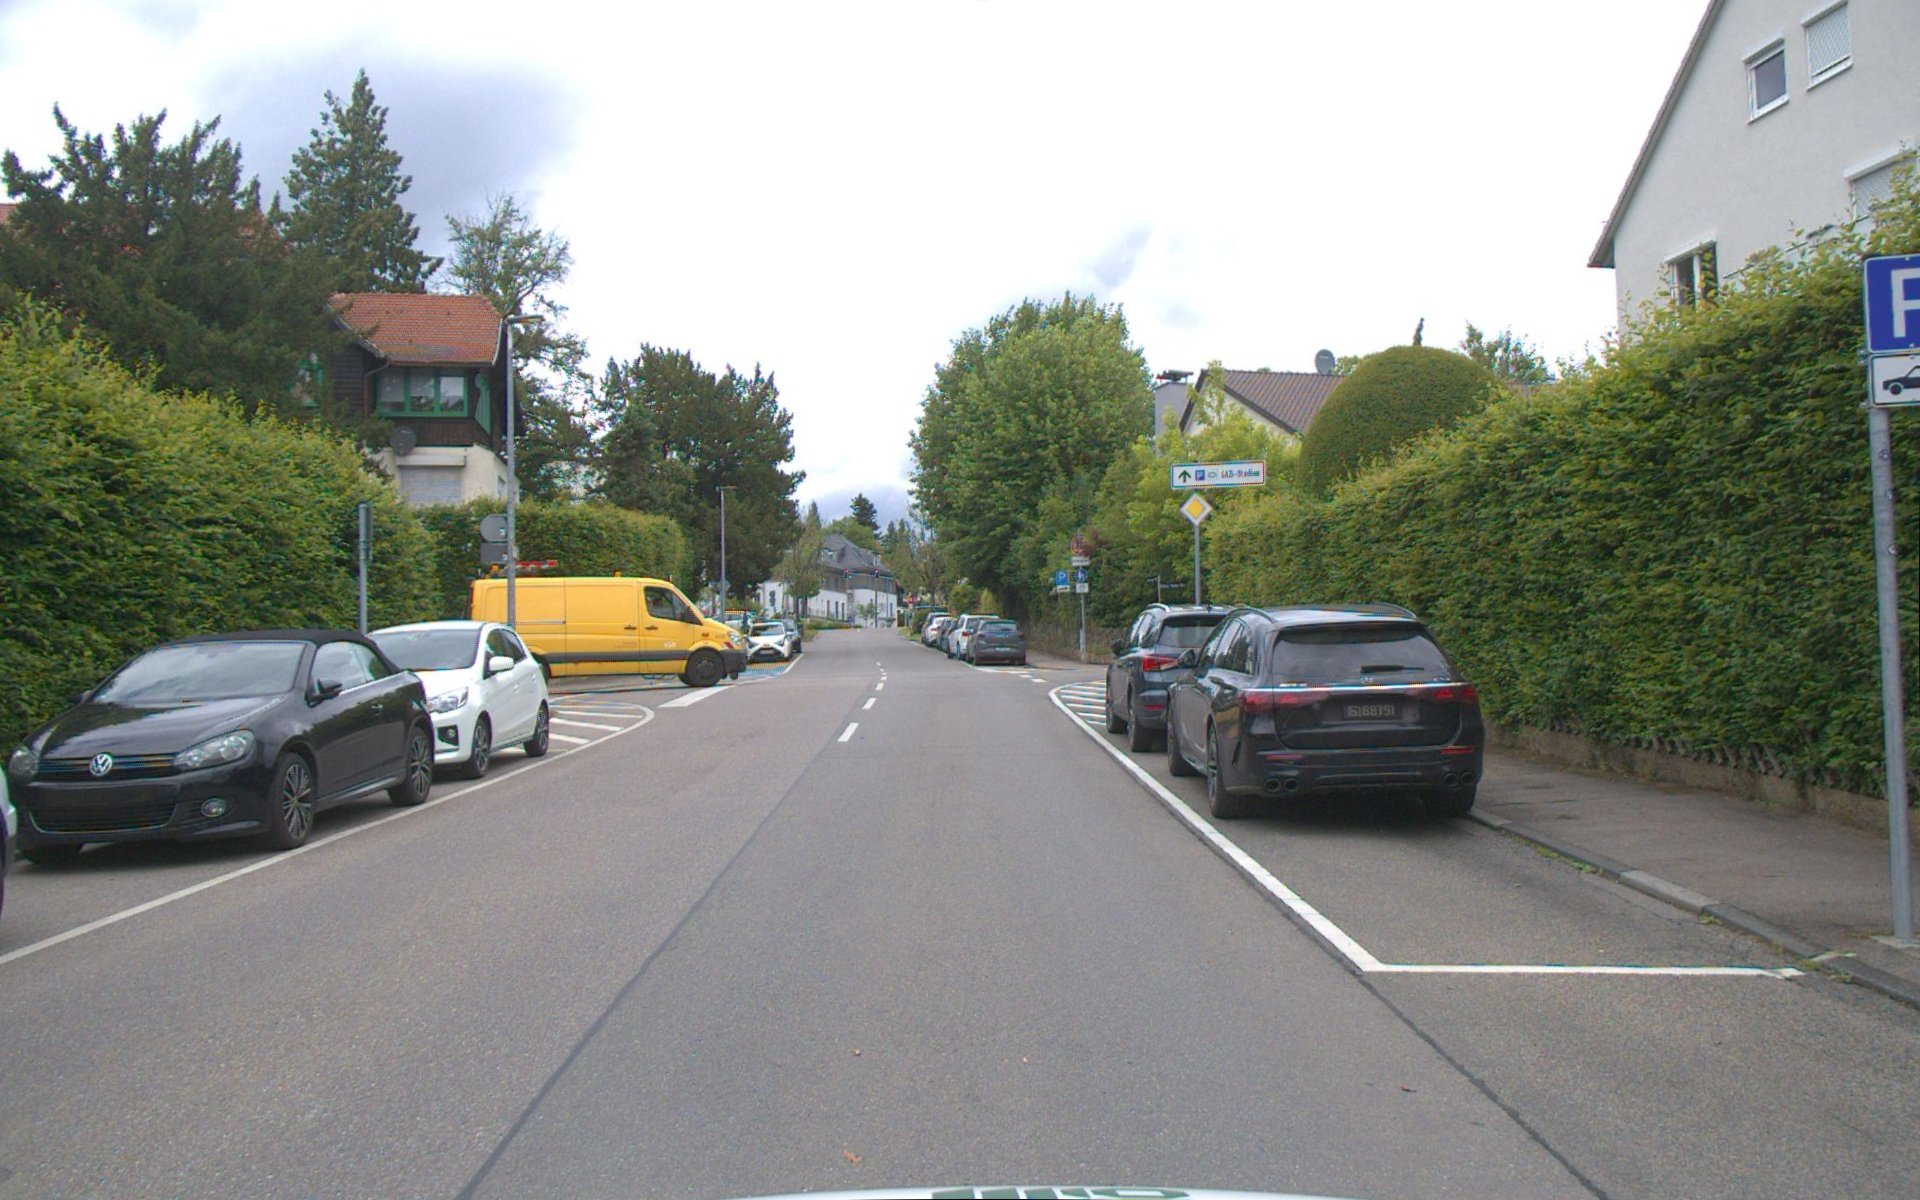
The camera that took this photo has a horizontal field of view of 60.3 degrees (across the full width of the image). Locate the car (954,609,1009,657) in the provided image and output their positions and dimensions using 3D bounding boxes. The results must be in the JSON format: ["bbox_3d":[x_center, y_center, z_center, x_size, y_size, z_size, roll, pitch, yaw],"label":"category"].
[{"bbox_3d":[0.769,1.192,60.984,1.680,1.686,3.619,-1,0,-5],"label":"car"}]

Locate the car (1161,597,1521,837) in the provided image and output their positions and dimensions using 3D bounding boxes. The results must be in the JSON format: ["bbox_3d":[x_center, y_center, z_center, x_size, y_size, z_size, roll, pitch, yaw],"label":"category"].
[{"bbox_3d":[2.768,0.759,13.071,1.844,1.560,4.475,0,0,0],"label":"car"}]

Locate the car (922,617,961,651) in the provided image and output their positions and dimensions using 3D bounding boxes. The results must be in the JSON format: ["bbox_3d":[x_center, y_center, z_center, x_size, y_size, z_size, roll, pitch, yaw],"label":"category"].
[{"bbox_3d":[-0.922,1.631,80.583,1.632,1.527,3.464,-1,0,-5],"label":"car"}]

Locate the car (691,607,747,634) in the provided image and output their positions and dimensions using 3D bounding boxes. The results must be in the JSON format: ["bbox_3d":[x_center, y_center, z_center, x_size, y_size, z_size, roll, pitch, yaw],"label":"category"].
[{"bbox_3d":[-16.445,1.373,112.939,3.773,1.767,1.639,-1,0,-9],"label":"car"}]

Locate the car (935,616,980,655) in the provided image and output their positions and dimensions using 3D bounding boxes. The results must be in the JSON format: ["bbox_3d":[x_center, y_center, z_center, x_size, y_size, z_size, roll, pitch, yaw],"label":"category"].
[{"bbox_3d":[-0.127,1.492,70.064,1.632,1.527,3.464,-1,0,-5],"label":"car"}]

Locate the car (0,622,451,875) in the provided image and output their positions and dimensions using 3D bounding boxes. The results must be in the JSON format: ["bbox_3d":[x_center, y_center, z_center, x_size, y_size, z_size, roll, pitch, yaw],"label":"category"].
[{"bbox_3d":[-5.130,0.938,11.838,1.727,1.412,3.999,-3,-1,-1],"label":"car"}]

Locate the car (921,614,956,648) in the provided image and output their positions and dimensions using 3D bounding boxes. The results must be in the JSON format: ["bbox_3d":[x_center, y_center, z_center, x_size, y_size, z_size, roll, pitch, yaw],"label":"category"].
[{"bbox_3d":[-1.161,1.607,87.730,1.632,1.697,3.464,-1,0,-5],"label":"car"}]

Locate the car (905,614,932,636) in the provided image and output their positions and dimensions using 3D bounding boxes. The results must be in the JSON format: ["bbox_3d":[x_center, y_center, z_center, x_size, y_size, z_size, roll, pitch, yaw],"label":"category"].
[{"bbox_3d":[-2.805,1.651,112.039,1.611,1.396,3.464,-1,0,-5],"label":"car"}]

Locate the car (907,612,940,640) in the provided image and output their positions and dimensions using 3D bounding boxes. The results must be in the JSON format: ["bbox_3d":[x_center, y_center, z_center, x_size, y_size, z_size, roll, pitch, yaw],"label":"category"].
[{"bbox_3d":[-2.088,1.469,94.290,1.632,1.527,3.464,-1,0,-5],"label":"car"}]

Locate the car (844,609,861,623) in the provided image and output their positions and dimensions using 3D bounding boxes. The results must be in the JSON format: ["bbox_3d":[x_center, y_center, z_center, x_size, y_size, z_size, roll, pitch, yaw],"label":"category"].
[{"bbox_3d":[-11.446,1.681,176.171,1.786,1.445,3.996,-1,0,-5],"label":"car"}]

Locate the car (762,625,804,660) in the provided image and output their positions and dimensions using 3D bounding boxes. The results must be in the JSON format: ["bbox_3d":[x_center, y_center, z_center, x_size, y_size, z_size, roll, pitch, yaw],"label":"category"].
[{"bbox_3d":[-7.902,1.878,73.594,1.634,1.424,3.459,-1,0,-10],"label":"car"}]

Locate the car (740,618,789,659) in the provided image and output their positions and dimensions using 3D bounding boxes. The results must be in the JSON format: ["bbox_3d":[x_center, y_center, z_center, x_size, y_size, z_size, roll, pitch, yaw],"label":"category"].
[{"bbox_3d":[-7.290,1.405,61.474,1.634,1.424,3.459,-1,0,-10],"label":"car"}]

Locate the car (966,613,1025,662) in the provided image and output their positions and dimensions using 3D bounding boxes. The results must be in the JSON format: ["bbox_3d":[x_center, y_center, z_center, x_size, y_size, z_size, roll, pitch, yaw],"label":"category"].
[{"bbox_3d":[1.184,1.243,55.992,1.632,1.527,3.464,-1,0,-5],"label":"car"}]

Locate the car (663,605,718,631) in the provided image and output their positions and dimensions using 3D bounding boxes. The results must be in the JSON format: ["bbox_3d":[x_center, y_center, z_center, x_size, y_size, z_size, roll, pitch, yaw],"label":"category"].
[{"bbox_3d":[-19.392,1.306,119.121,3.773,1.767,1.639,-1,0,-9],"label":"car"}]

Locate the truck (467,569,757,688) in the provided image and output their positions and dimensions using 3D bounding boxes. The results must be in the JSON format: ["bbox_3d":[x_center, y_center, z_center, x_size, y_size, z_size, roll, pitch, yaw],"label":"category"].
[{"bbox_3d":[-7.507,0.638,35.441,5.840,2.349,2.810,0,-4,-18],"label":"truck"}]

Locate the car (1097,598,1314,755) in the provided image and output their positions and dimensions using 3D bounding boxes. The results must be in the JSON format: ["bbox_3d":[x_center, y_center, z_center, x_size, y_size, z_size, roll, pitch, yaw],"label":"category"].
[{"bbox_3d":[2.656,0.769,18.879,1.844,1.560,4.475,0,0,0],"label":"car"}]

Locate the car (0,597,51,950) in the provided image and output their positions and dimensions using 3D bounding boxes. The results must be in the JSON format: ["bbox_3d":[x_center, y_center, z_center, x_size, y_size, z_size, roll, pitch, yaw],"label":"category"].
[{"bbox_3d":[-5.058,0.811,5.747,1.688,1.567,3.998,-2,0,-3],"label":"car"}]

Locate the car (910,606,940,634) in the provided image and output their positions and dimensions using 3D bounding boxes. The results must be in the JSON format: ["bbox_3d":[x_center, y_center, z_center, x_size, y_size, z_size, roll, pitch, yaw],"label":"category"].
[{"bbox_3d":[-2.189,1.218,103.277,1.611,1.697,3.464,-1,0,-5],"label":"car"}]

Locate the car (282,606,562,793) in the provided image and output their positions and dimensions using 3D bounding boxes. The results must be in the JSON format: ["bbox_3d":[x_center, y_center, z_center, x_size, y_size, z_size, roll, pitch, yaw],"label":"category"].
[{"bbox_3d":[-5.264,0.899,16.666,1.597,1.549,3.637,-3,0,-1],"label":"car"}]
